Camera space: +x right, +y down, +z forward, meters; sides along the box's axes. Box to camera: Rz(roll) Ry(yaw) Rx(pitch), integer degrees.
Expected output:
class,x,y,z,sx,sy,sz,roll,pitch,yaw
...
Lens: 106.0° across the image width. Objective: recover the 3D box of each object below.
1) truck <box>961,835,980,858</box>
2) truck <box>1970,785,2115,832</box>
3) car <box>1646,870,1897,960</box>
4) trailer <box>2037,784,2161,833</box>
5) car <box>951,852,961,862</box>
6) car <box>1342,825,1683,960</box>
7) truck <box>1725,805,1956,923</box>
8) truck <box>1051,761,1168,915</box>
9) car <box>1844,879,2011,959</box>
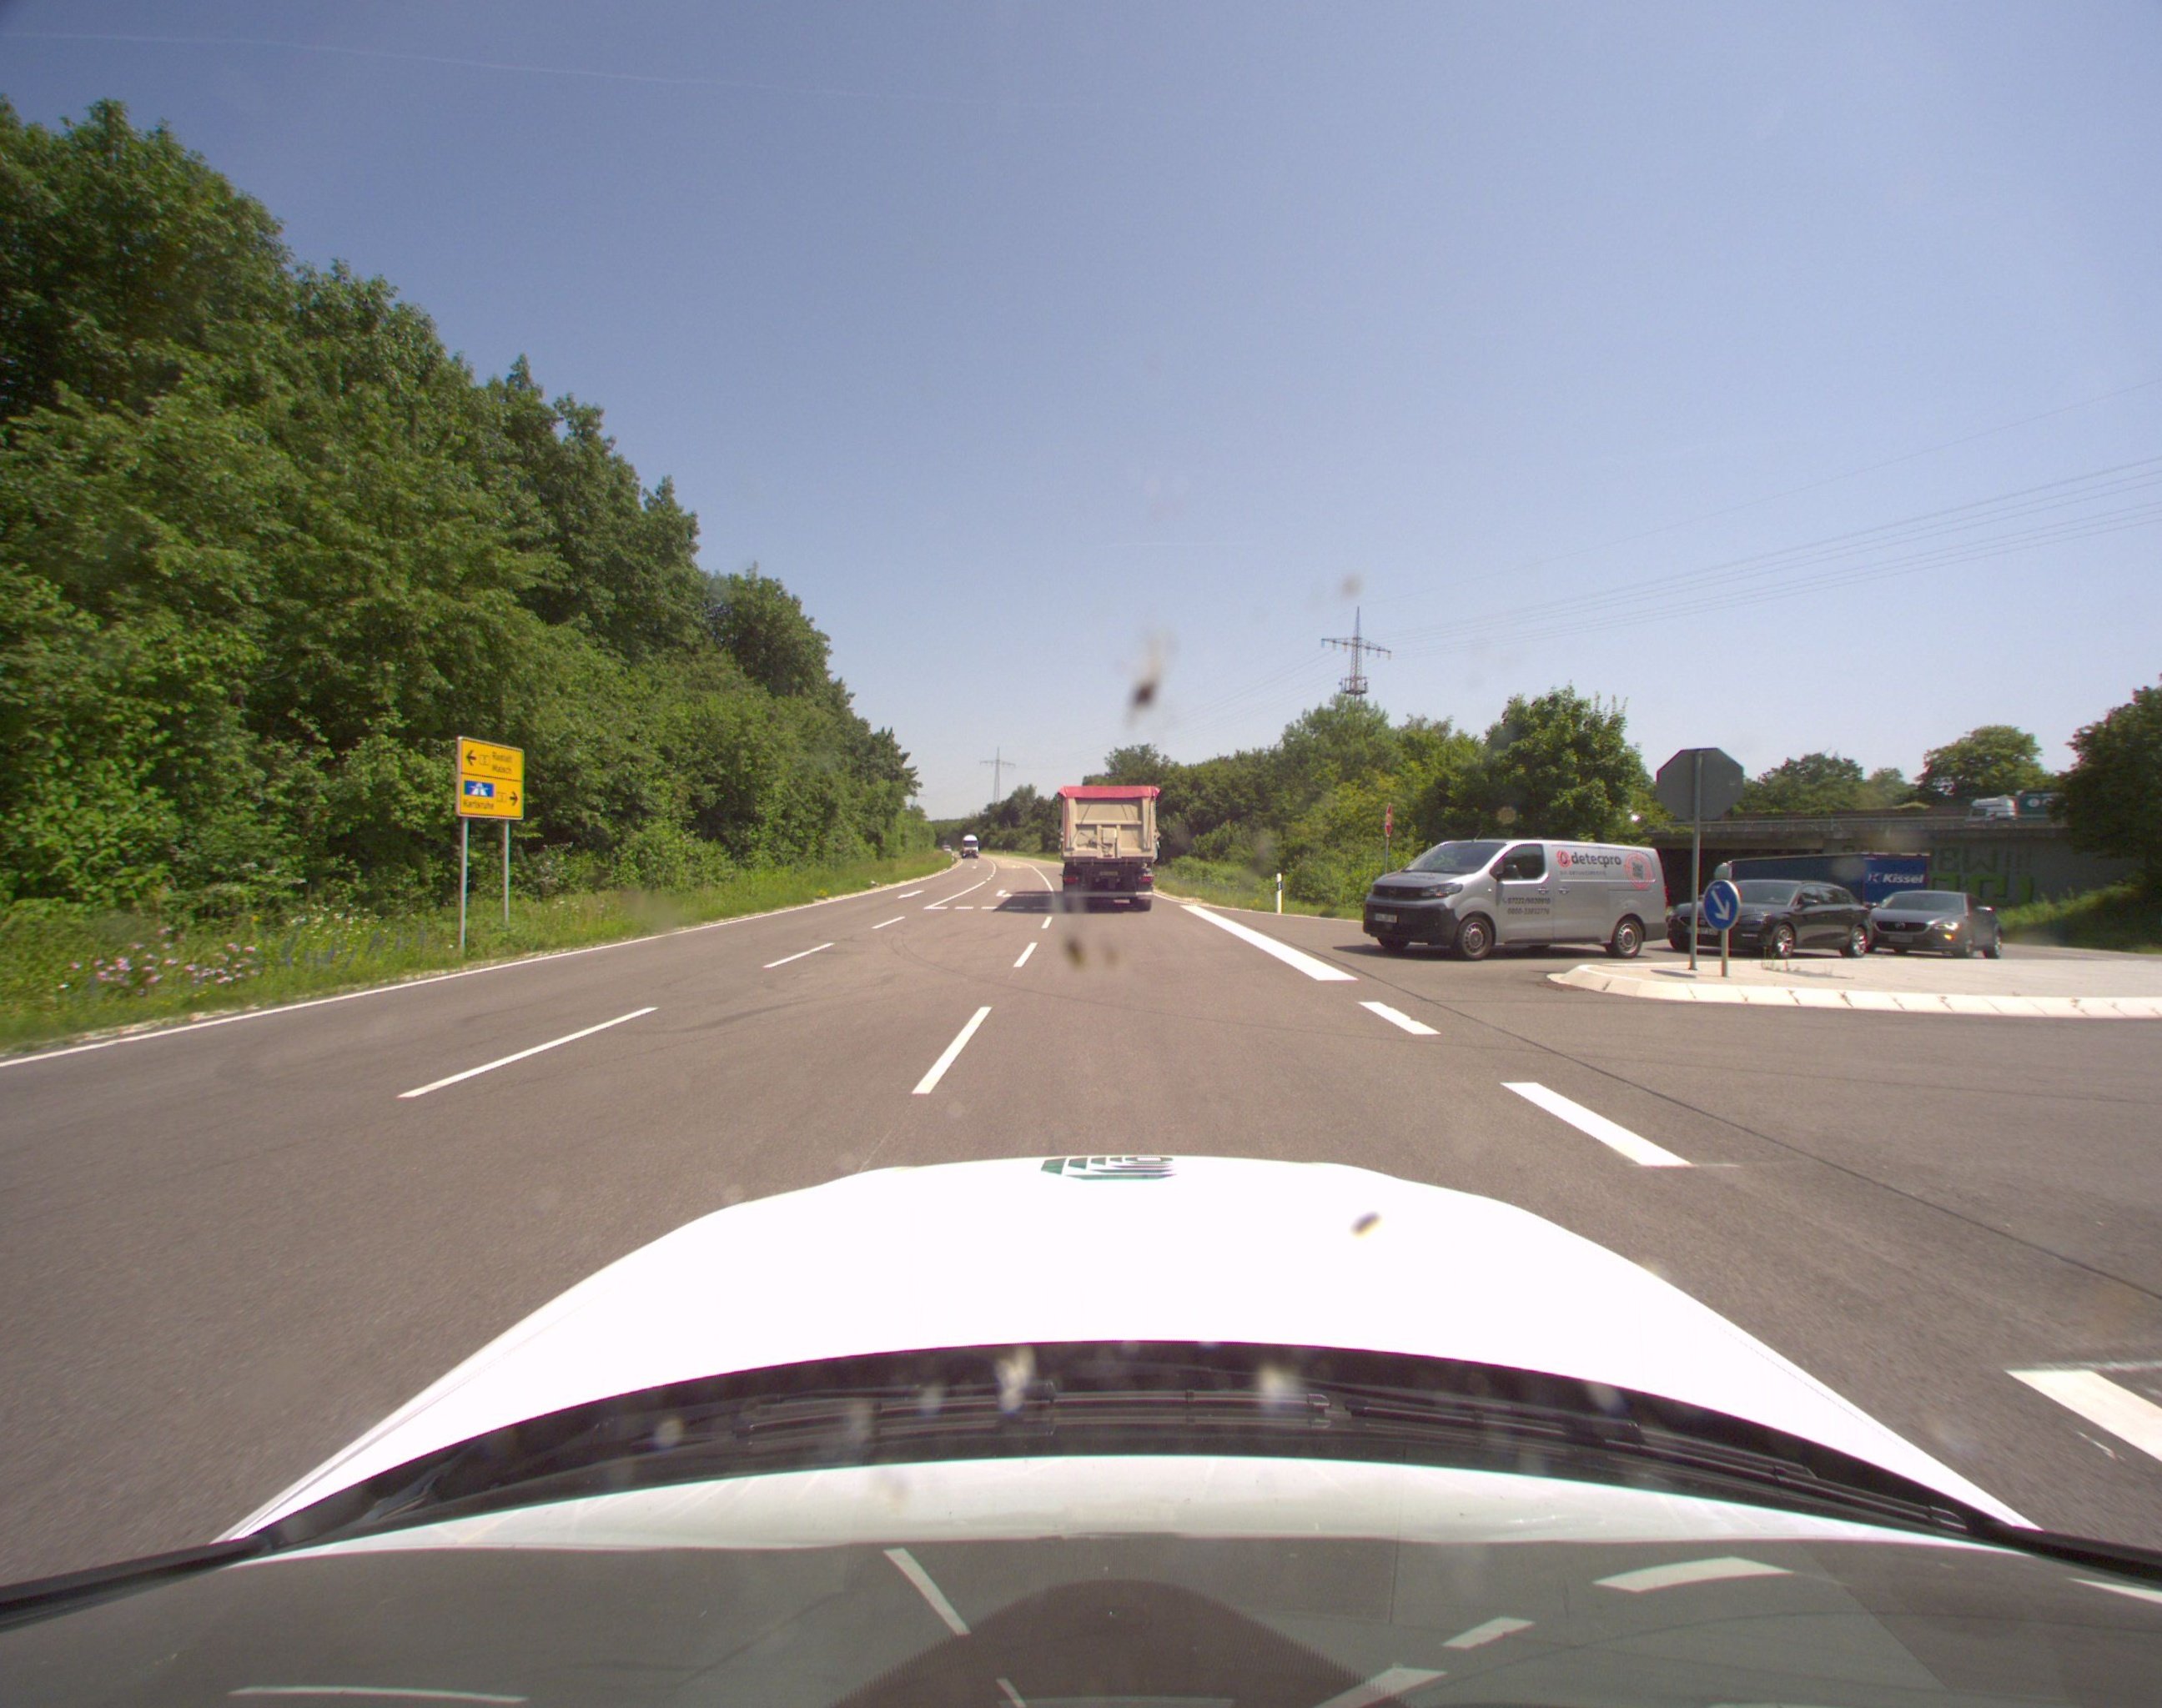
class,x,y,z,sx,sy,sz,roll,pitch,yaw
truck,-17.610,-1.155,130.134,2.624,3.671,8.777,0,0,-6
truck,74.991,-3.451,63.697,2.916,3.149,6.735,0,-1,-23
car,13.114,1.152,15.443,4.569,1.474,1.854,3,-1,-24
trailer,77.334,-3.300,58.003,2.916,3.255,11.683,0,-1,-22
car,-22.987,0.565,149.945,1.841,1.779,4.880,0,-1,-8
car,7.106,0.654,13.406,5.230,1.907,2.000,2,-2,-21
truck,40.532,0.507,44.657,3.335,5.315,15.416,-1,-1,19
truck,0.522,-0.447,27.007,2.886,3.962,11.920,0,0,-3
car,19.227,1.482,18.473,4.109,1.599,1.793,4,-3,-31
